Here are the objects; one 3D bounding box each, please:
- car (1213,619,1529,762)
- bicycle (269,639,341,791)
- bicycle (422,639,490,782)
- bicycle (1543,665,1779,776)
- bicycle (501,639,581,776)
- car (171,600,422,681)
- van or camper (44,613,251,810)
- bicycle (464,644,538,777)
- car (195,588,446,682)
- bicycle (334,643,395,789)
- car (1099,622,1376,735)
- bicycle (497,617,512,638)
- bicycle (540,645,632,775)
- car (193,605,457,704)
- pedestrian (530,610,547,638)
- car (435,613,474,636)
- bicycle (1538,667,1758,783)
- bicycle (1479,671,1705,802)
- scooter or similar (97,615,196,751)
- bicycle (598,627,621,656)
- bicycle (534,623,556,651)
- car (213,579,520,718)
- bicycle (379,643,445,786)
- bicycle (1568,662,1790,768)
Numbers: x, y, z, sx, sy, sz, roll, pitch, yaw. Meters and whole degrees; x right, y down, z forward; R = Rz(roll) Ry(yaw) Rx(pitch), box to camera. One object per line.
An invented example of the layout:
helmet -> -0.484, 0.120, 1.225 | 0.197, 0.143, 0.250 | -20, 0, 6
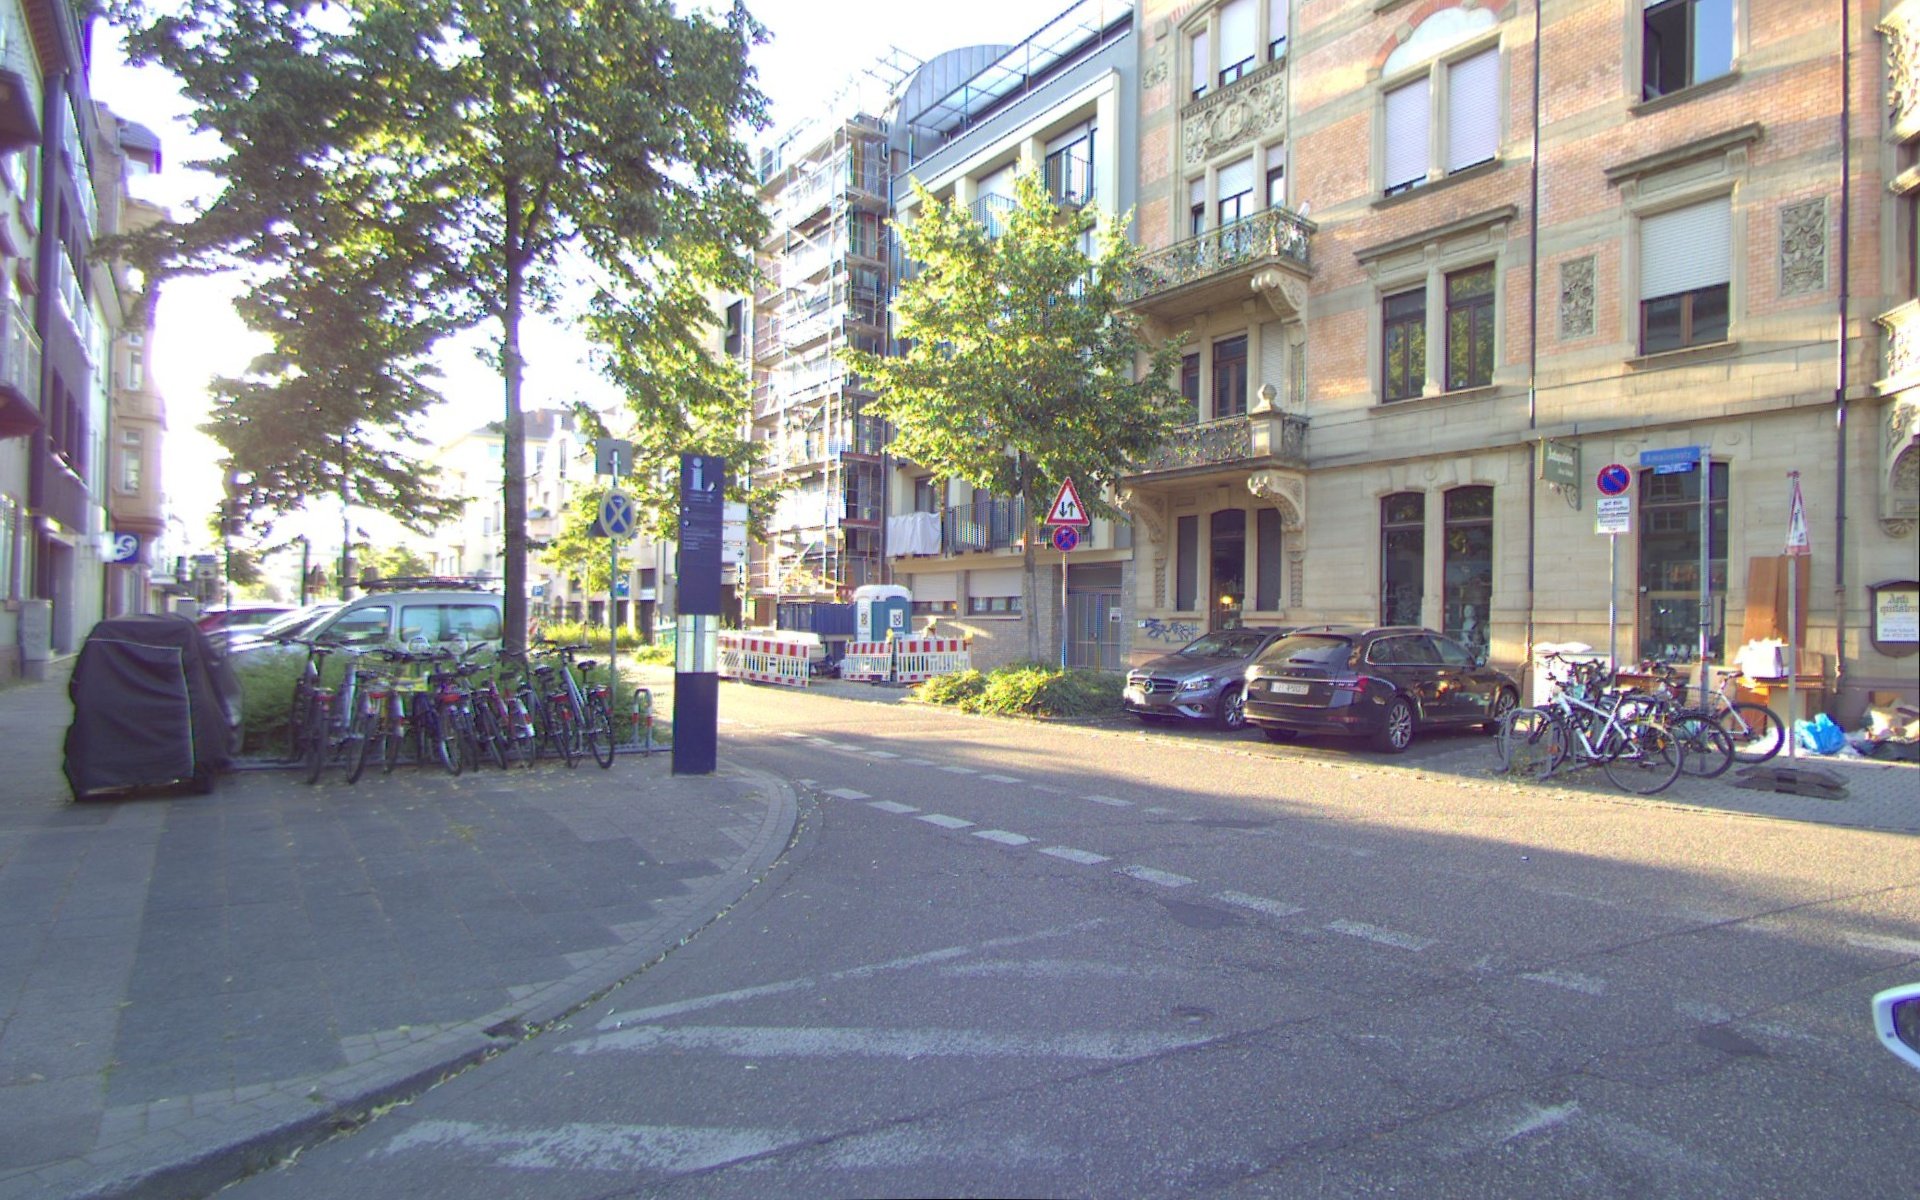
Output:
car -> 5.544, 1.052, 13.311 | 4.499, 1.531, 1.891 | 0, -1, -37
bicycle -> -5.390, 0.896, 8.250 | 0.392, 1.096, 1.581 | 4, -3, -34
bicycle -> -4.558, 0.942, 9.053 | 0.310, 1.163, 1.597 | 2, -3, -34
bicycle -> 7.782, 1.290, 11.261 | 0.634, 1.027, 2.087 | 1, -1, -38
bicycle -> -3.976, 0.966, 9.487 | 0.328, 1.155, 1.581 | 4, -3, -34
car -> -13.758, 0.832, 20.965 | 4.188, 1.536, 1.741 | 2, -2, -41
van or camper -> -5.986, 0.760, 7.534 | 0.934, 1.276, 1.829 | 3, -3, -32
bicycle -> -4.282, 0.980, 9.326 | 0.317, 1.096, 1.581 | 4, -3, -34
car -> -11.973, 0.701, 18.992 | 3.799, 1.606, 1.725 | 3, -3, -34
bicycle -> -5.075, 0.930, 8.530 | 0.320, 1.096, 1.581 | 2, -2, -34
car -> 4.402, 1.101, 15.620 | 4.500, 1.499, 1.848 | 1, -1, -37
bicycle -> -28.116, 1.700, 61.992 | 0.395, 1.251, 1.805 | 1, -1, -39
bicycle -> -3.655, 1.020, 9.749 | 0.392, 1.122, 1.696 | 4, -3, -34
car -> -10.708, 0.899, 17.174 | 3.621, 1.535, 1.634 | 2, -1, -32
pedestrian -> -25.765, 1.478, 61.371 | 0.805, 1.668, 0.600 | 0, -1, -37
car -> -33.476, 1.617, 66.509 | 1.624, 1.443, 3.718 | 1, -1, -37
bicycle -> 7.208, 1.267, 10.604 | 0.634, 1.027, 1.812 | 1, -1, -38
bicycle -> 6.145, 1.279, 9.876 | 0.565, 1.061, 1.815 | 1, -1, -34
scooter or similar -> -7.996, 0.773, 9.921 | 0.672, 1.238, 1.380 | 1, -1, -36
bicycle -> -15.208, 1.787, 43.601 | 0.380, 1.205, 1.505 | 3, -3, -40
bicycle -> -16.988, 1.498, 41.123 | 0.380, 1.115, 1.505 | 2, -1, -40
car -> -8.881, 0.712, 15.240 | 3.783, 1.874, 1.684 | 2, -2, -34
bicycle -> -4.781, 0.940, 8.730 | 0.338, 1.096, 1.581 | 1, -1, -34
bicycle -> 8.409, 1.302, 11.856 | 0.461, 1.054, 2.087 | 1, -1, -38
